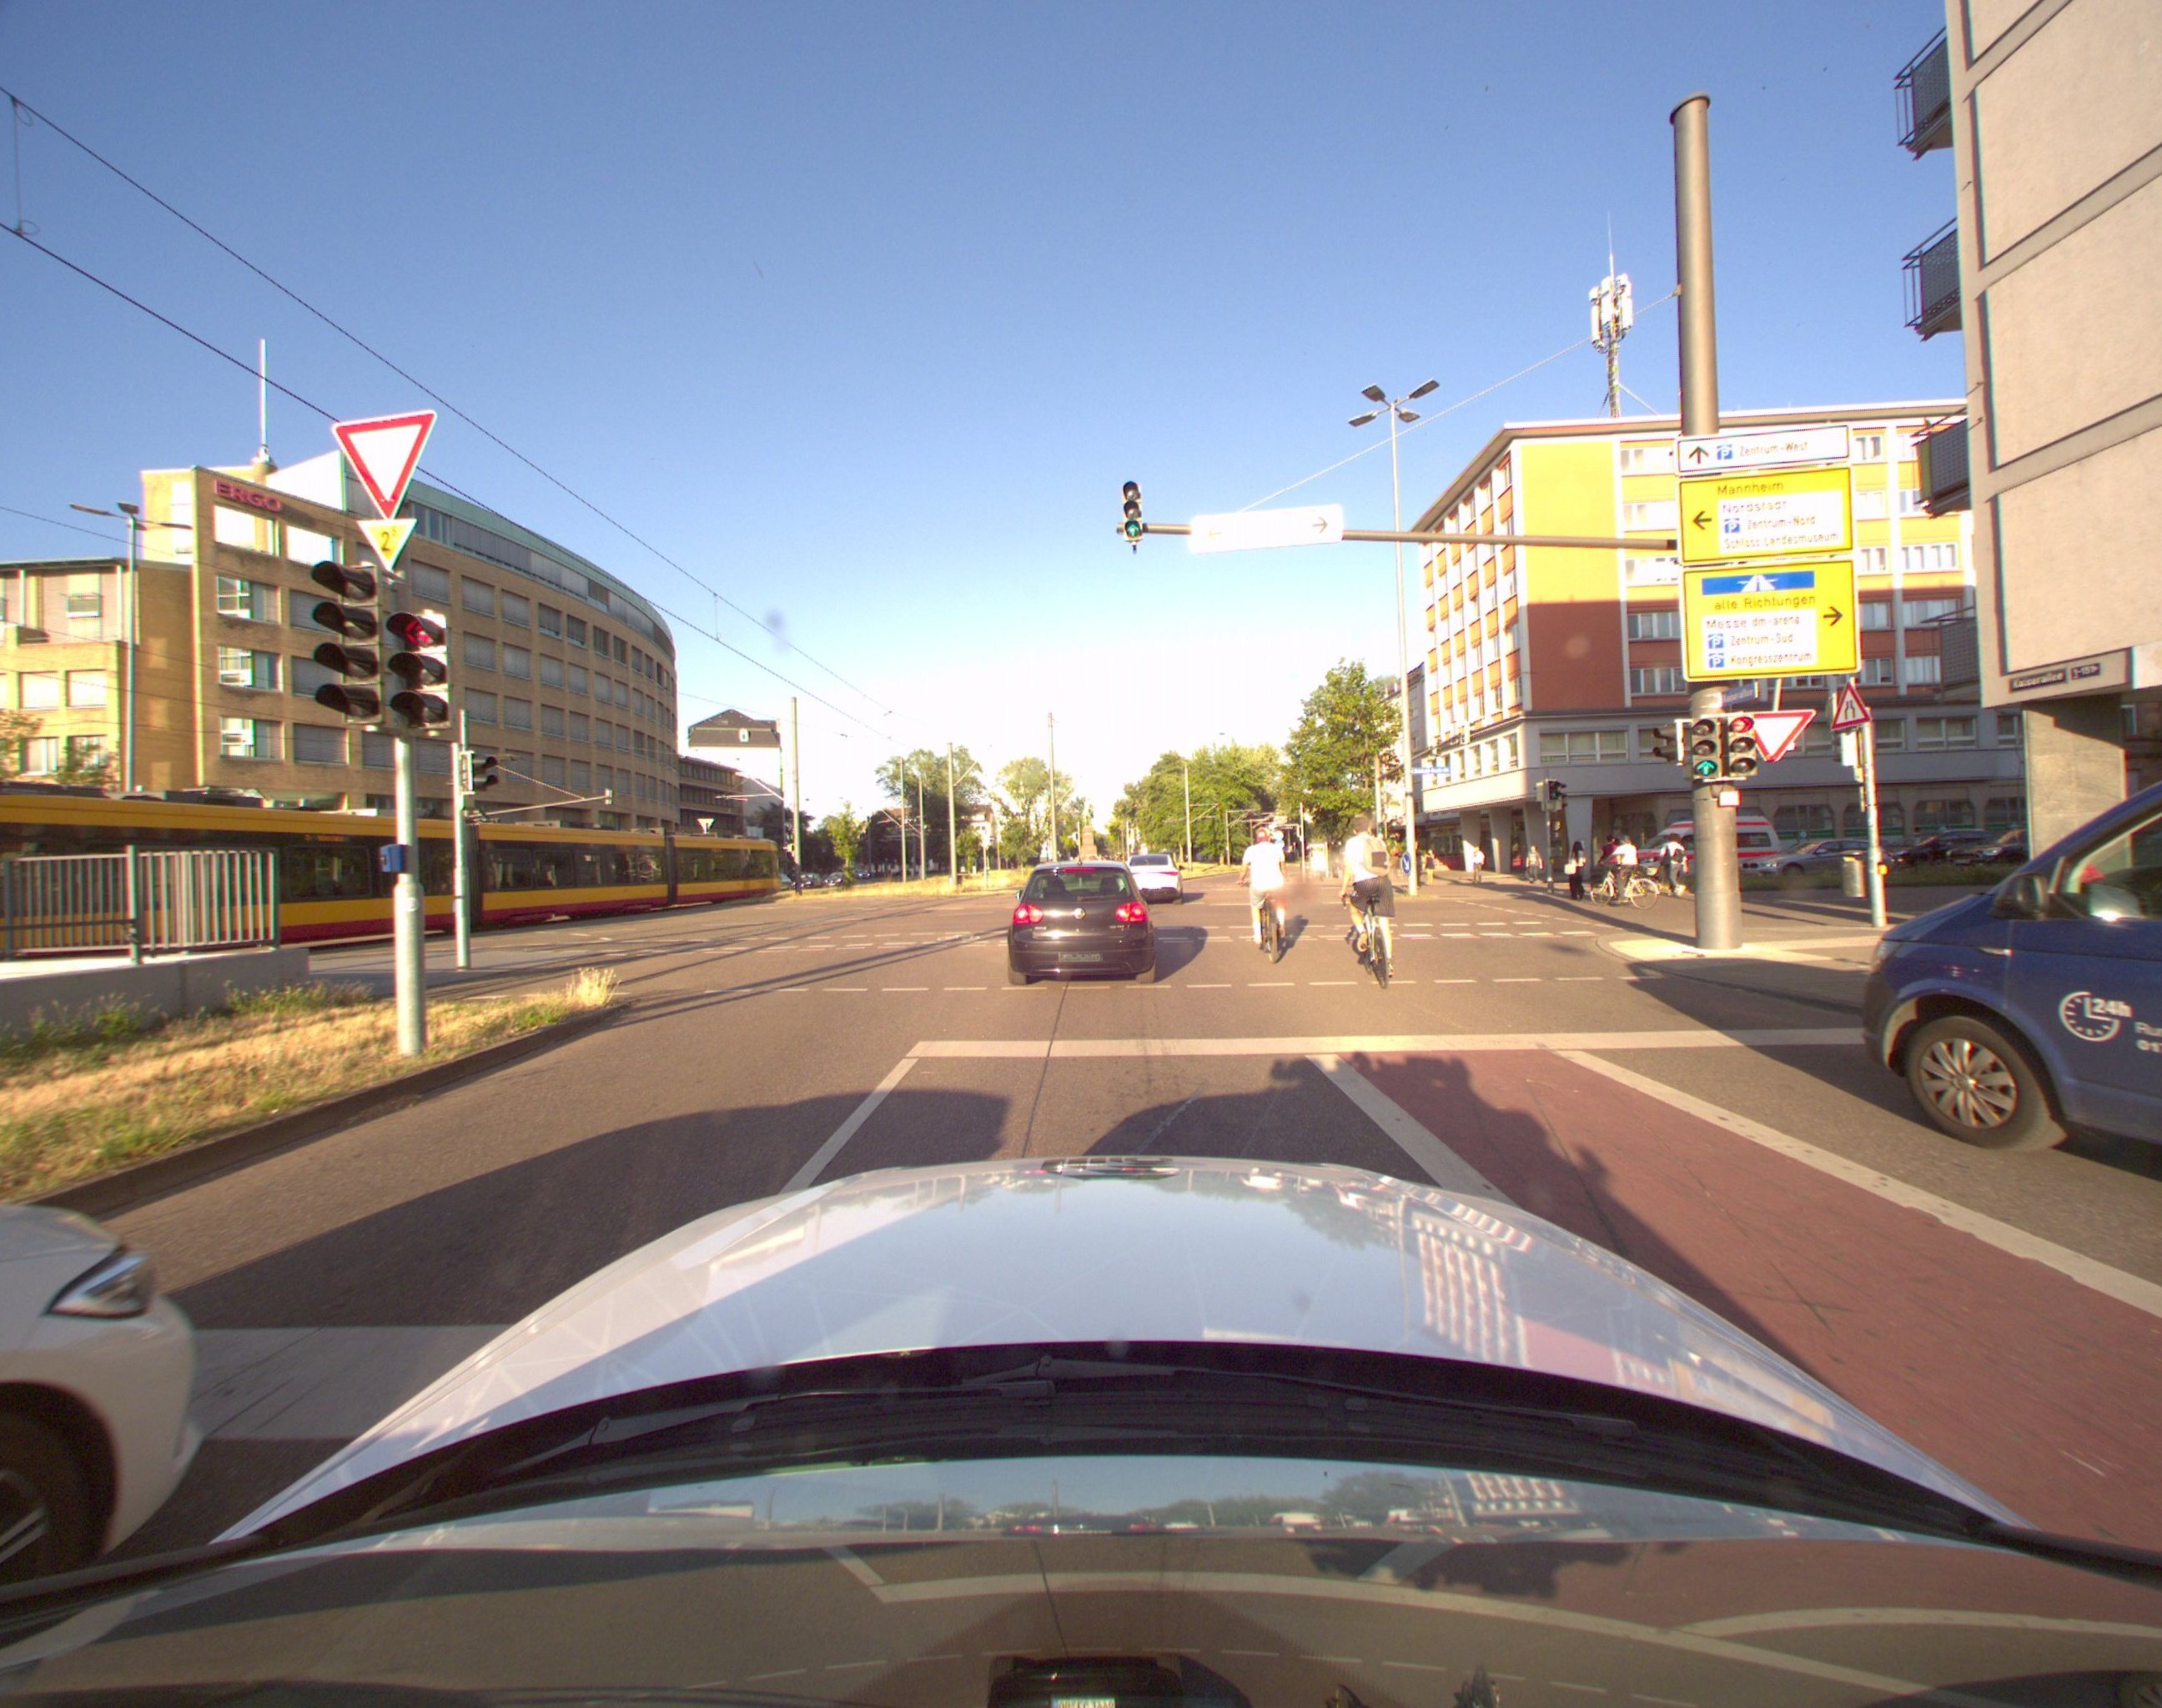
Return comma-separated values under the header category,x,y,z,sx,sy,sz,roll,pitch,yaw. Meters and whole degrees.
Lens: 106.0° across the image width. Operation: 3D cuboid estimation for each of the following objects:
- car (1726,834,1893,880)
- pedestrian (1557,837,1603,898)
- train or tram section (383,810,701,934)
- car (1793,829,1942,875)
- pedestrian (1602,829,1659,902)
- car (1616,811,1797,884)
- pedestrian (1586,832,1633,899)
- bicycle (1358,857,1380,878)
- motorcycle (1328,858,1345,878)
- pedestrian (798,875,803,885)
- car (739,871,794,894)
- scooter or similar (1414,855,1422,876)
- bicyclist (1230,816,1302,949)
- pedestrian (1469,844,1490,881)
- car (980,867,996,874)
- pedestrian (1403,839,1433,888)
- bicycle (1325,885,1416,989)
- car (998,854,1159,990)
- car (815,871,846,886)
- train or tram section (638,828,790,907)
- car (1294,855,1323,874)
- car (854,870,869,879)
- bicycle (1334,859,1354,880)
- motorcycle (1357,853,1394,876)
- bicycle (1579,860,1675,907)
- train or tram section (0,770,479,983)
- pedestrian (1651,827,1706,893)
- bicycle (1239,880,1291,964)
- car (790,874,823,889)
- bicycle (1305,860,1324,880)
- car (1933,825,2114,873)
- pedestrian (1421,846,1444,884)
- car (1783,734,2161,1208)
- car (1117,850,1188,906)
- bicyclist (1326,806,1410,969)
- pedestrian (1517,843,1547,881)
category,x,y,z,sx,sy,sz,roll,pitch,yaw
car,24.651,0.130,27.662,3.972,1.376,1.807,-2,-1,2
pedestrian,12.701,0.336,20.750,0.679,1.500,0.747,-2,0,3
train or tram section,-18.899,0.570,30.514,2.763,3.536,13.255,-2,0,1
car,29.705,-0.065,30.842,4.058,1.571,1.597,-2,0,0
pedestrian,12.364,0.262,18.340,0.678,1.590,0.756,-1,-3,-21
car,23.454,-0.231,30.692,5.230,2.482,1.926,-2,-1,1
pedestrian,13.503,0.286,20.819,0.679,1.662,0.747,-2,0,3
bicycle,16.932,0.785,47.953,0.642,1.158,2.126,-2,0,4
motorcycle,16.667,0.887,53.142,0.662,1.242,2.206,-2,0,8
pedestrian,-38.203,3.523,110.895,0.412,1.430,0.485,-2,-1,1
car,-23.503,2.094,61.012,1.880,1.480,4.787,-2,0,4
scooter or similar,20.499,0.668,49.551,0.411,1.254,1.189,-2,-1,21
bicyclist,2.629,0.397,11.679,0.822,1.807,1.059,-2,-1,5
pedestrian,18.903,0.398,38.655,0.566,1.701,0.813,-2,0,3
car,-20.997,3.681,183.607,3.329,1.507,1.657,-2,-1,-2
pedestrian,12.225,0.338,29.567,0.658,1.704,1.073,-2,0,7
bicycle,3.354,0.915,9.579,0.572,1.028,1.860,-2,-1,6
car,0.057,0.763,11.027,1.741,1.461,4.105,-1,0,2
car,-23.409,2.247,76.189,1.639,1.281,3.742,-2,0,2
train or tram section,-18.594,0.647,42.335,2.763,3.536,10.573,-2,0,1
car,20.040,0.876,71.661,1.712,1.472,3.921,-5,-2,25
car,-38.176,3.604,141.503,1.779,1.482,4.274,-2,-1,-25
bicycle,15.549,0.906,48.127,0.642,1.126,1.876,-2,0,4
motorcycle,18.530,0.669,51.216,2.031,1.406,0.762,-2,-1,9
bicycle,12.311,0.655,18.431,0.522,0.980,1.837,-2,0,-20
train or tram section,-19.232,0.438,17.251,2.763,3.536,13.255,-2,0,1
pedestrian,15.498,0.154,21.154,0.724,1.662,0.906,-2,0,3
bicycle,2.612,0.931,11.672,0.476,1.028,1.985,-2,0,6
car,-23.293,2.326,69.262,1.515,1.153,3.598,-2,0,0
bicycle,13.793,0.929,48.075,0.642,1.126,1.876,-2,0,4
car,32.151,-0.160,27.870,3.970,1.464,1.789,-2,-1,3
pedestrian,15.051,0.467,34.882,0.678,1.589,0.748,-2,0,6
car,5.336,0.445,2.685,1.929,1.933,4.834,-2,0,2
car,2.155,0.655,24.448,1.856,1.441,4.203,-3,0,5
bicyclist,3.365,0.378,9.618,0.670,1.807,0.995,-2,-1,6
pedestrian,20.676,0.376,37.377,0.780,1.701,1.028,-2,0,3
